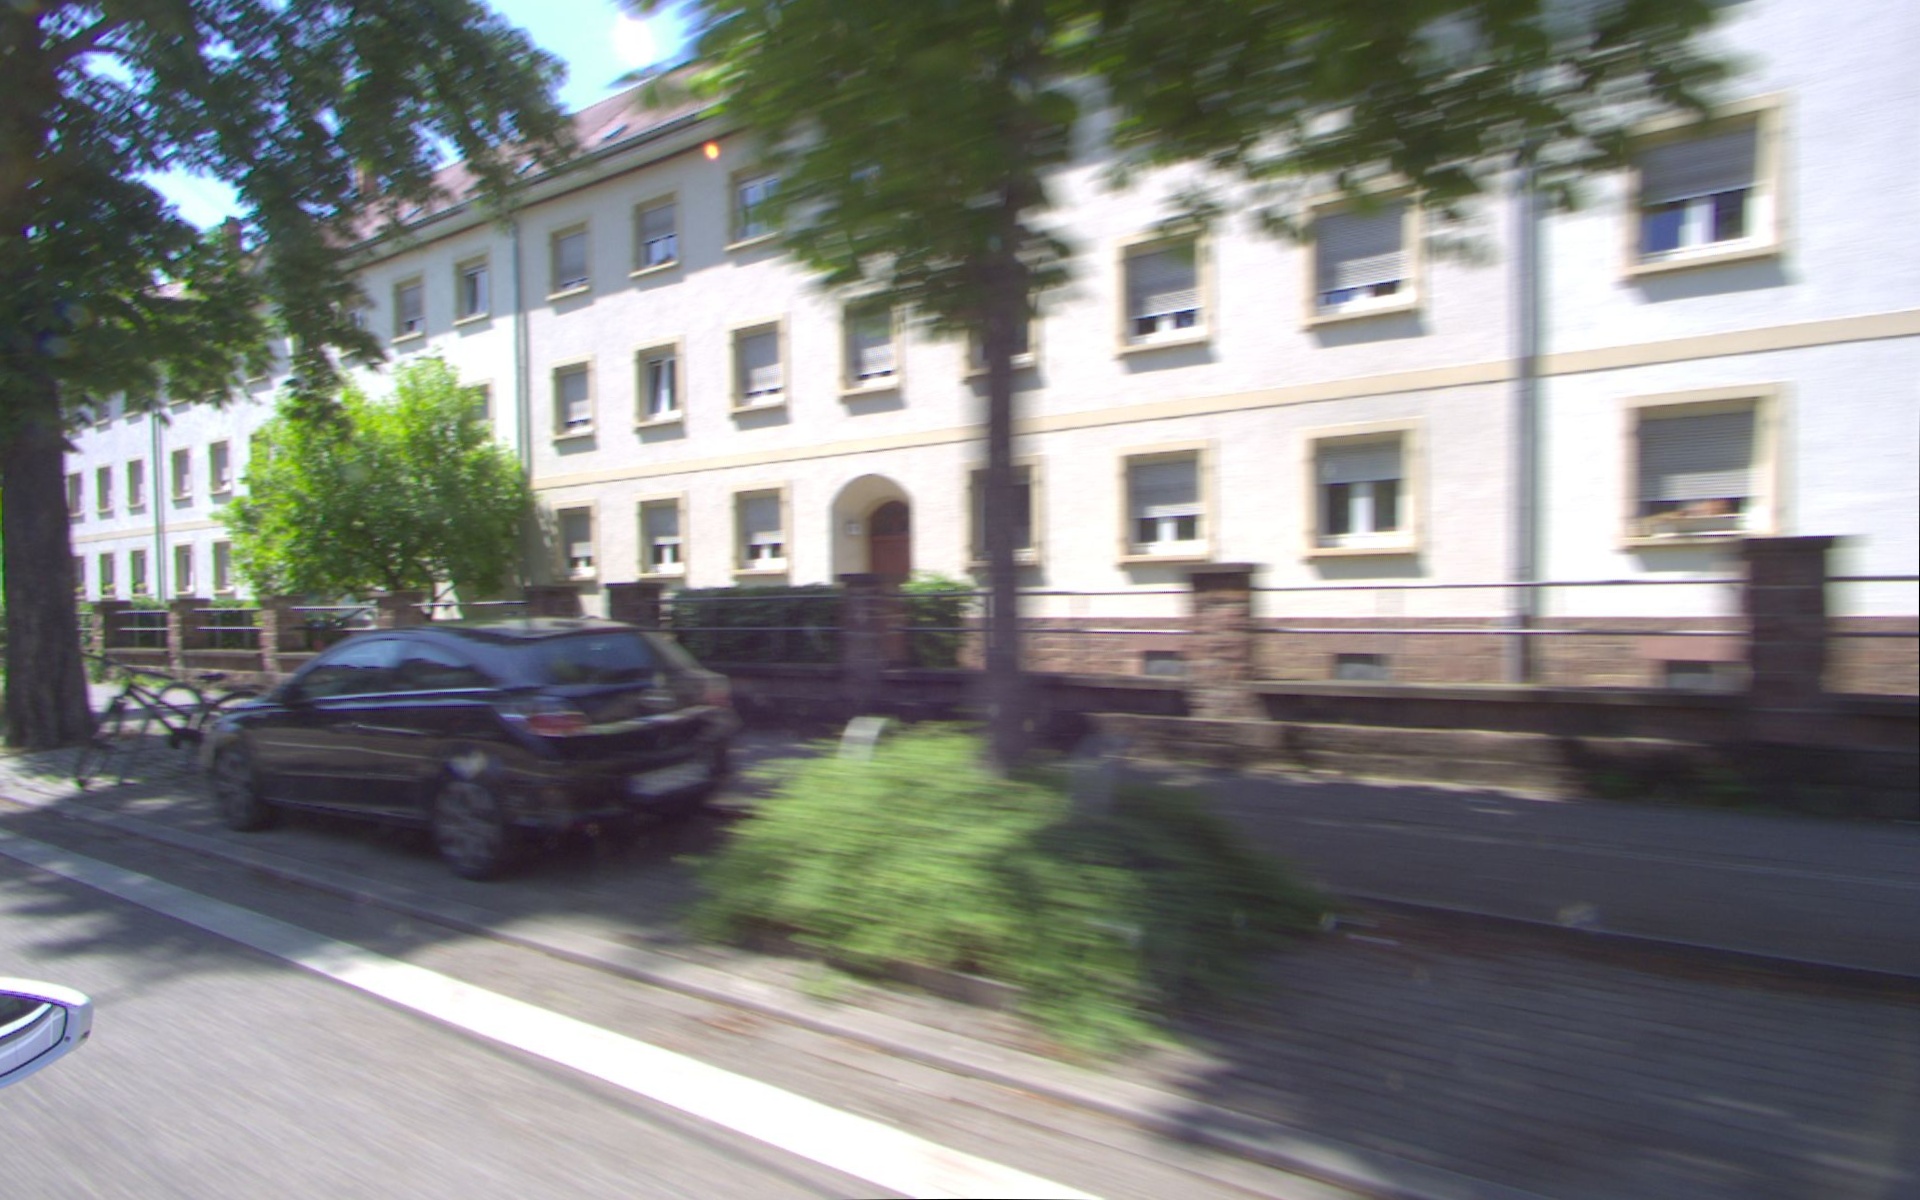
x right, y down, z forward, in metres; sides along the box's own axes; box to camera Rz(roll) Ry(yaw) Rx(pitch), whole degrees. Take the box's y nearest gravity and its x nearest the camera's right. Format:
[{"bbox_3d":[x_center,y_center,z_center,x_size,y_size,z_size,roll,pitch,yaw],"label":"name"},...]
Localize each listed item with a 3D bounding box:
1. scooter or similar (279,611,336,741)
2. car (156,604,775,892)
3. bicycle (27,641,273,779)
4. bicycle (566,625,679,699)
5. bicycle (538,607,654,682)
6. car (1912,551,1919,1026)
[{"bbox_3d":[-6.936,0.775,10.676,0.374,1.230,1.241,0,4,-27],"label":"scooter or similar"},{"bbox_3d":[-3.465,0.774,6.810,4.291,1.437,1.692,-1,-1,30],"label":"car"},{"bbox_3d":[-7.295,0.942,9.117,0.596,1.092,1.653,0,-1,25],"label":"bicycle"},{"bbox_3d":[-5.266,0.949,15.595,1.894,1.092,0.478,-1,-1,27],"label":"bicycle"},{"bbox_3d":[-5.504,0.662,15.122,1.894,1.092,0.478,-1,-1,26],"label":"bicycle"},{"bbox_3d":[4.858,0.624,1.427,4.814,1.672,1.942,-1,-1,35],"label":"car"}]
